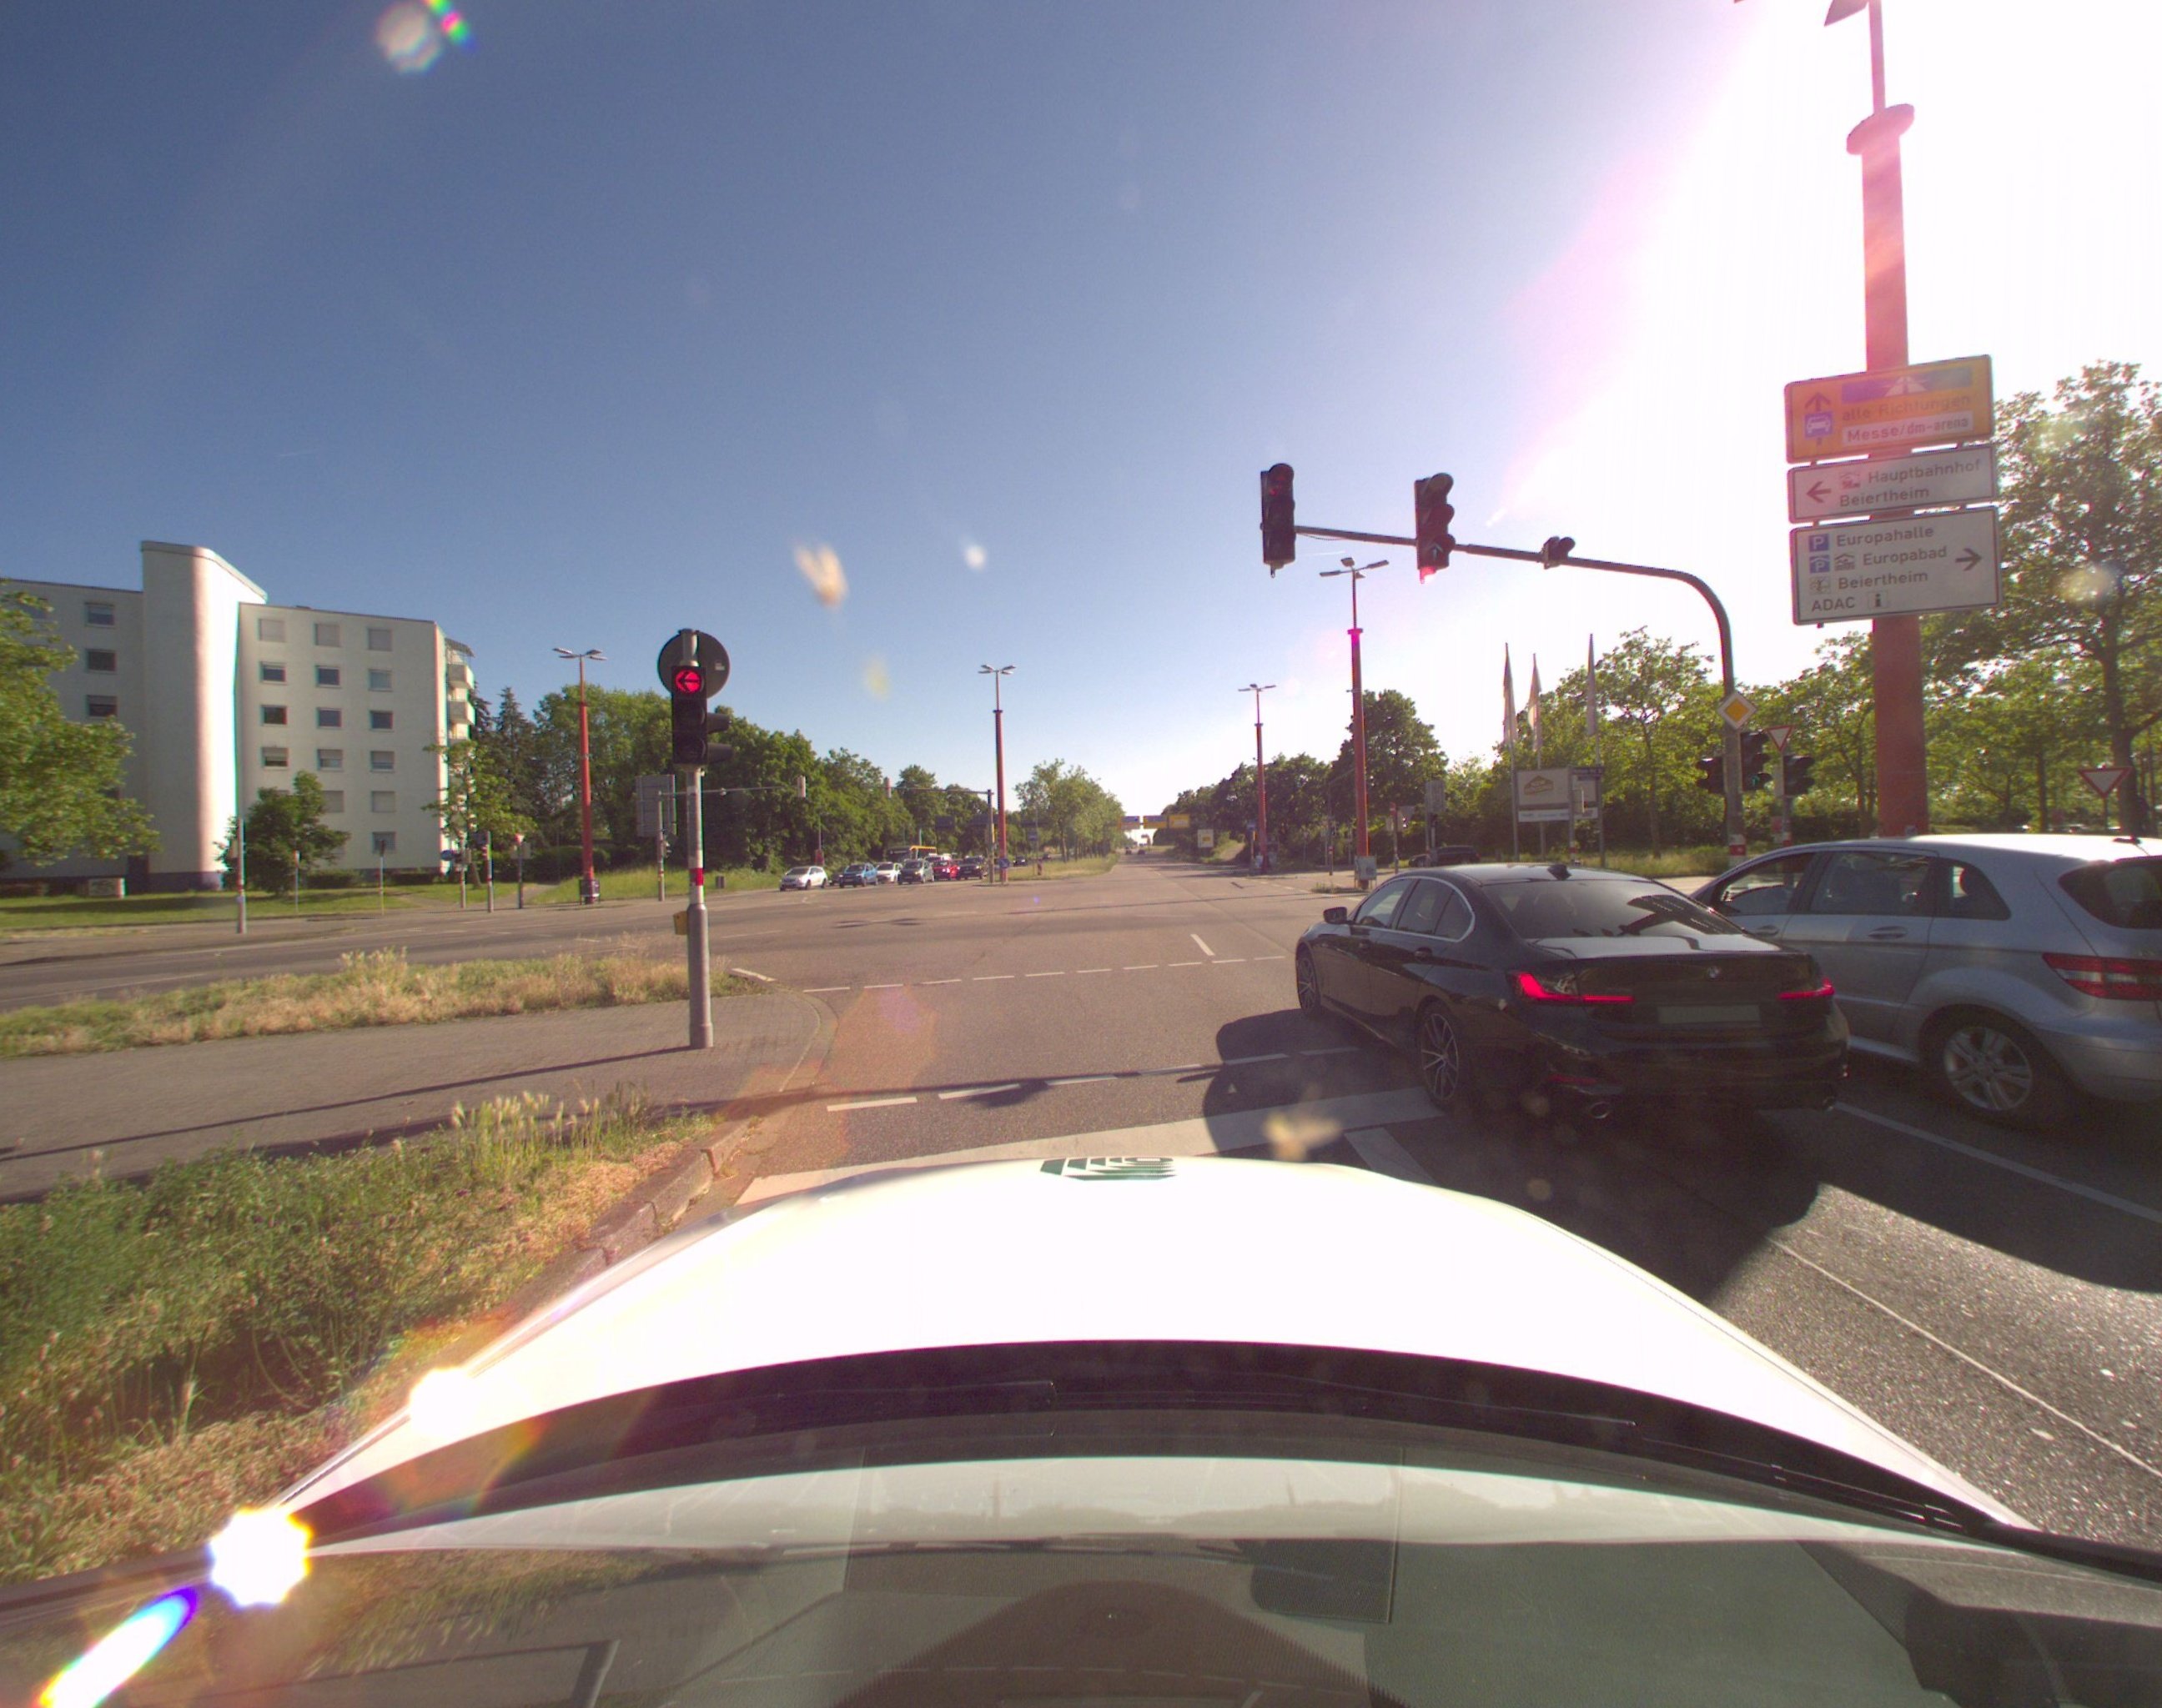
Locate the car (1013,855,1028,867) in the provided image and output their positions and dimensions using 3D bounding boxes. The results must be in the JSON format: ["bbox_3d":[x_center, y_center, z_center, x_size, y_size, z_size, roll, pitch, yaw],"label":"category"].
[{"bbox_3d":[-9.450,1.070,127.760,1.830,1.837,3.962,-2,0,2],"label":"car"}]

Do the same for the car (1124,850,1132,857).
[{"bbox_3d":[12.427,-0.042,217.434,1.986,1.733,4.001,0,-1,2],"label":"car"}]

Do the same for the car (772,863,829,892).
[{"bbox_3d":[-17.632,1.421,51.429,1.869,1.652,4.222,-3,-1,3],"label":"car"}]

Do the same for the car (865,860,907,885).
[{"bbox_3d":[-13.761,1.285,57.775,1.895,1.555,4.000,-3,0,0],"label":"car"}]

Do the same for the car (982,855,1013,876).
[{"bbox_3d":[-6.638,0.884,64.841,1.878,1.543,4.002,-3,0,2],"label":"car"}]

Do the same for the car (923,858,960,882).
[{"bbox_3d":[-10.054,1.122,59.035,1.869,1.552,4.000,-5,0,0],"label":"car"}]

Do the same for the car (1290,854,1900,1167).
[{"bbox_3d":[2.948,0.743,5.946,1.758,1.441,4.294,0,0,0],"label":"car"}]

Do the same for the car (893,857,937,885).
[{"bbox_3d":[-10.683,1.076,52.708,1.867,1.550,4.029,-3,0,2],"label":"car"}]

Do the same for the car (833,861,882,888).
[{"bbox_3d":[-14.125,1.283,51.628,1.794,1.515,3.861,-3,0,2],"label":"car"}]

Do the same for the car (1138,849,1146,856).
[{"bbox_3d":[16.535,-0.366,221.020,1.986,1.733,4.001,0,-1,2],"label":"car"}]

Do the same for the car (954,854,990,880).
[{"bbox_3d":[-7.515,0.855,56.714,1.787,1.626,4.144,-3,0,1],"label":"car"}]

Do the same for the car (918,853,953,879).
[{"bbox_3d":[-12.709,0.997,71.313,1.954,2.155,5.083,-2,0,1],"label":"car"}]

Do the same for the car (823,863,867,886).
[{"bbox_3d":[-17.544,1.500,60.692,1.877,1.513,4.003,-3,0,3],"label":"car"}]

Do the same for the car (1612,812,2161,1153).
[{"bbox_3d":[5.810,0.617,5.757,1.709,1.608,3.849,0,-1,2],"label":"car"}]

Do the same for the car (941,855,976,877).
[{"bbox_3d":[-9.733,0.931,65.033,1.893,1.630,4.003,-1,0,3],"label":"car"}]

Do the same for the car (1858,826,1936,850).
[{"bbox_3d":[59.339,-1.154,59.248,4.281,1.635,1.765,-2,0,-8],"label":"car"}]

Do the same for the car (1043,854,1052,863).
[{"bbox_3d":[-8.349,1.106,201.822,1.913,1.999,4.605,-2,0,1],"label":"car"}]

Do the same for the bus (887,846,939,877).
[{"bbox_3d":[-18.675,0.870,91.598,2.635,3.261,12.545,0,0,3],"label":"bus"}]

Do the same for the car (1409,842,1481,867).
[{"bbox_3d":[24.569,0.058,55.076,4.250,1.635,1.778,-1,-1,18],"label":"car"}]
